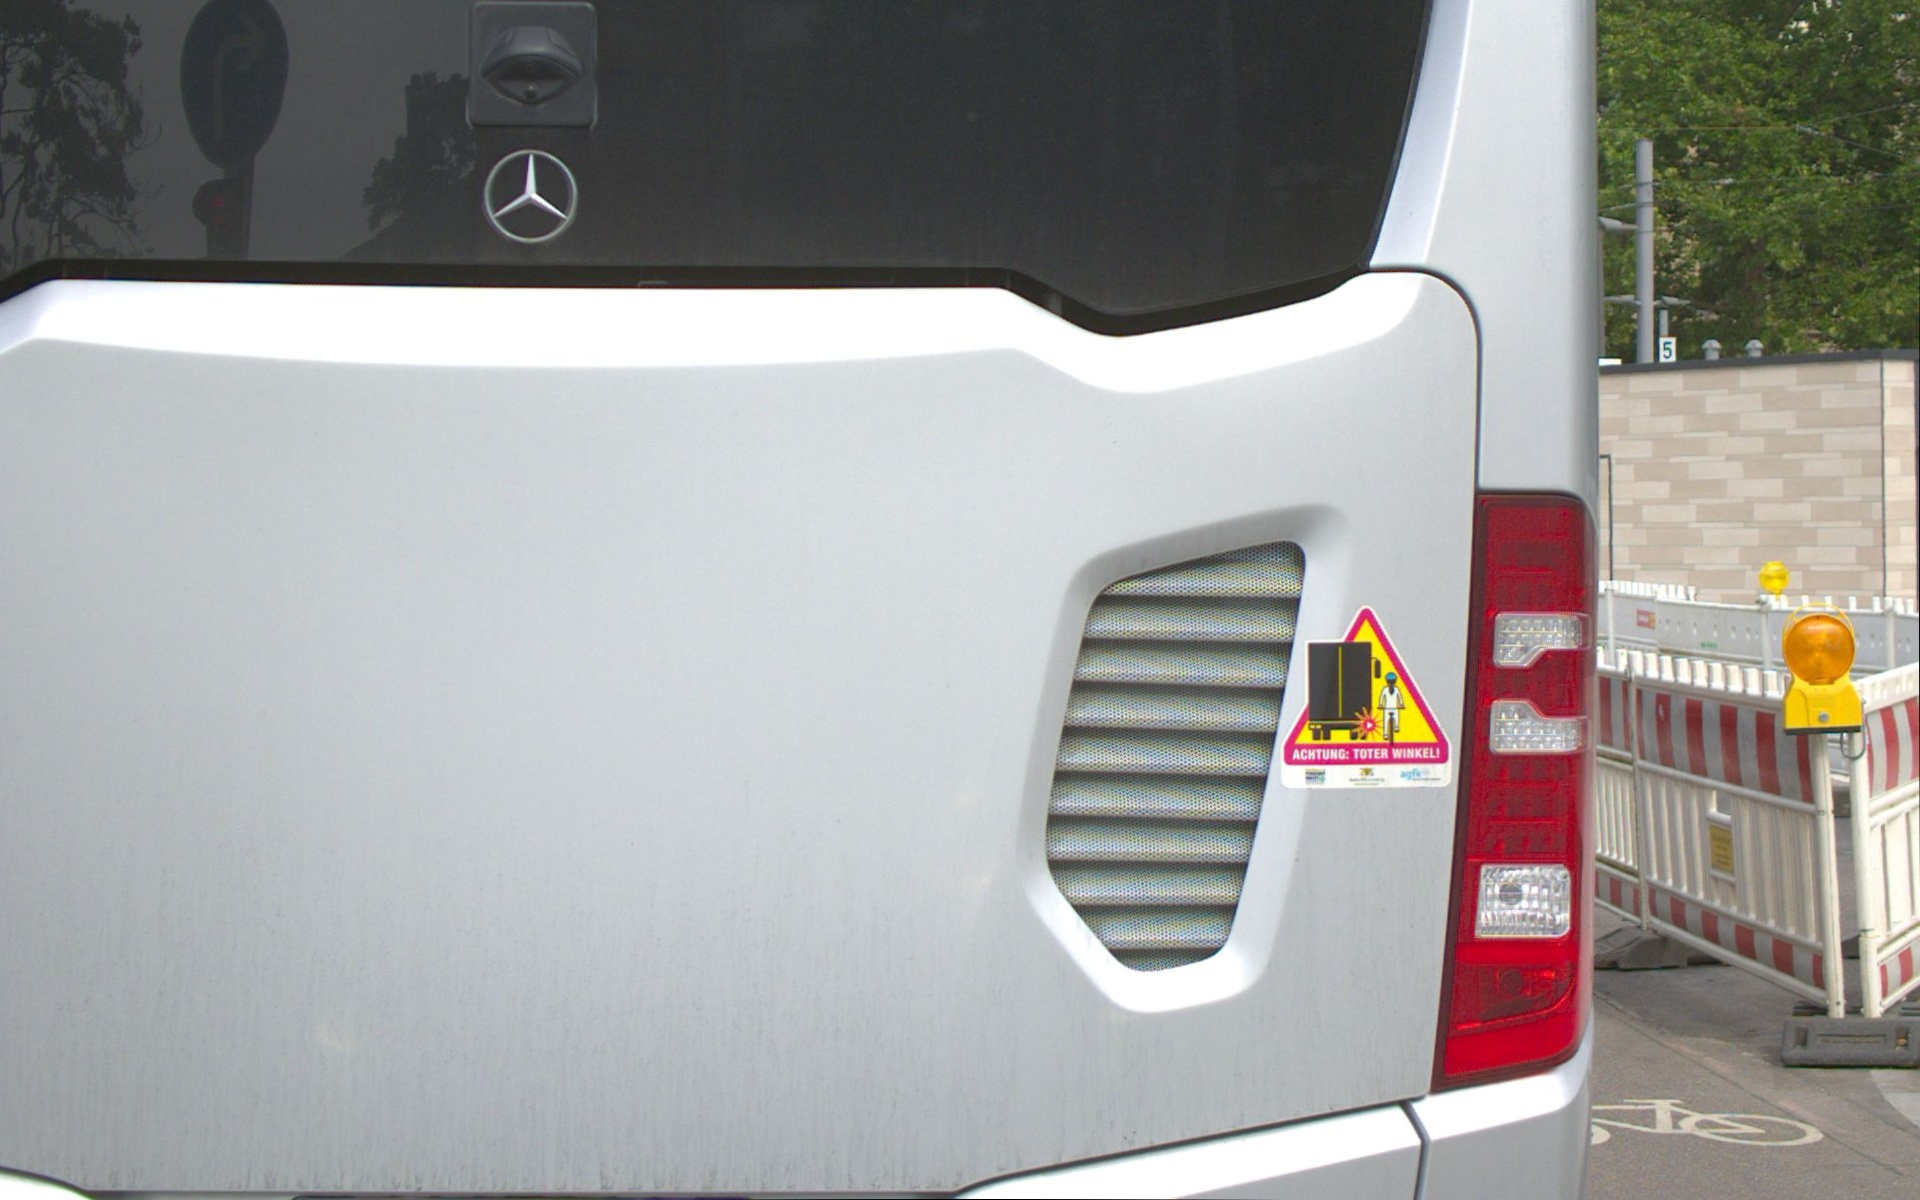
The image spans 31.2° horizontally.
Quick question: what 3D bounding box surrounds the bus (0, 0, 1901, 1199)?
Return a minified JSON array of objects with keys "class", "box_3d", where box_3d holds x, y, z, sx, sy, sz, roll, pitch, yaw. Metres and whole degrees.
[{"class":"bus","box_3d":[-0.280,-0.411,10.503,2.704,3.426,14.184,0,1,1]}]
